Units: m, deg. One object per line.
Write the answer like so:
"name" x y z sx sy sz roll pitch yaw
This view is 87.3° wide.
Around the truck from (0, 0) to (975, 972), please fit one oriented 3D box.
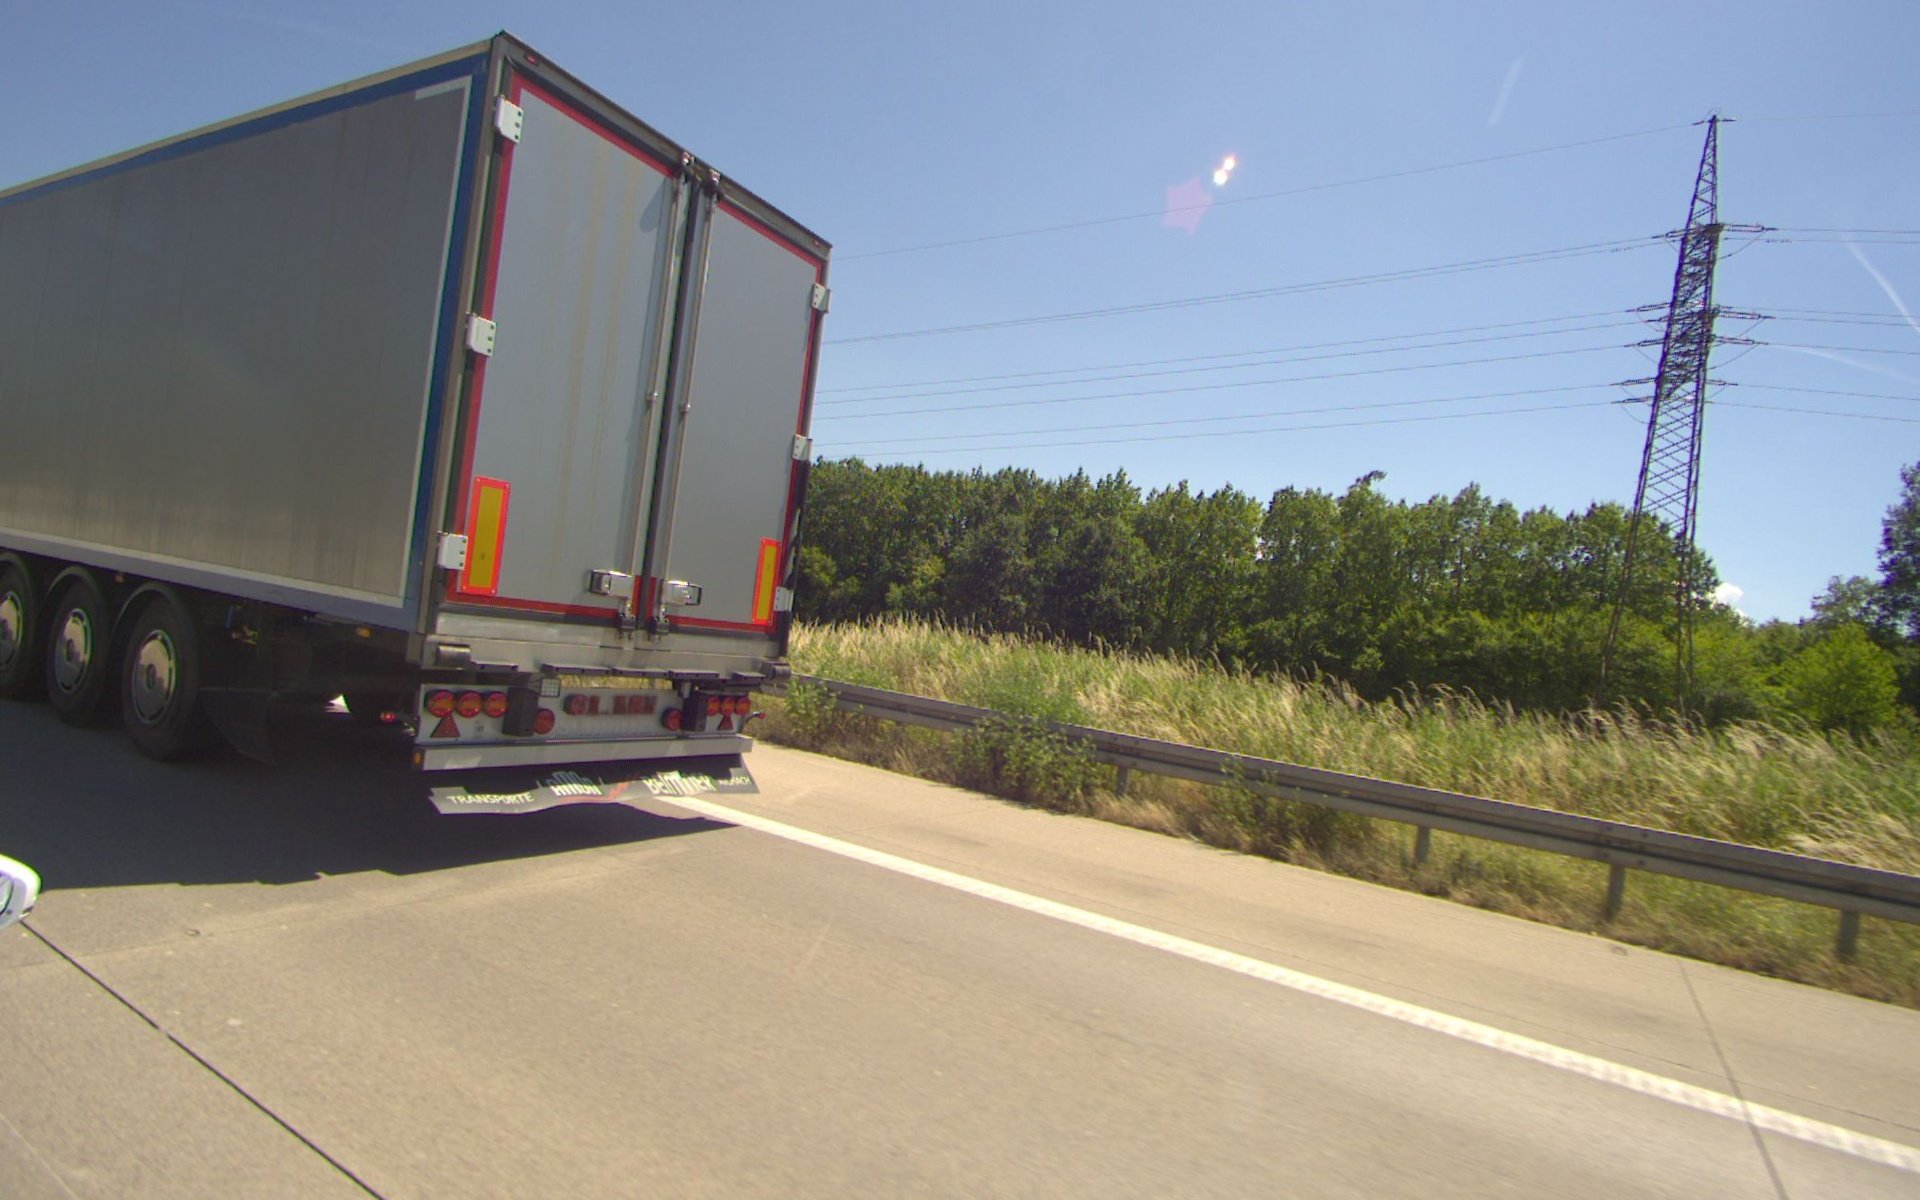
"truck" -8.841 -2.037 10.514 17.940 5.848 3.589 7 -3 31
